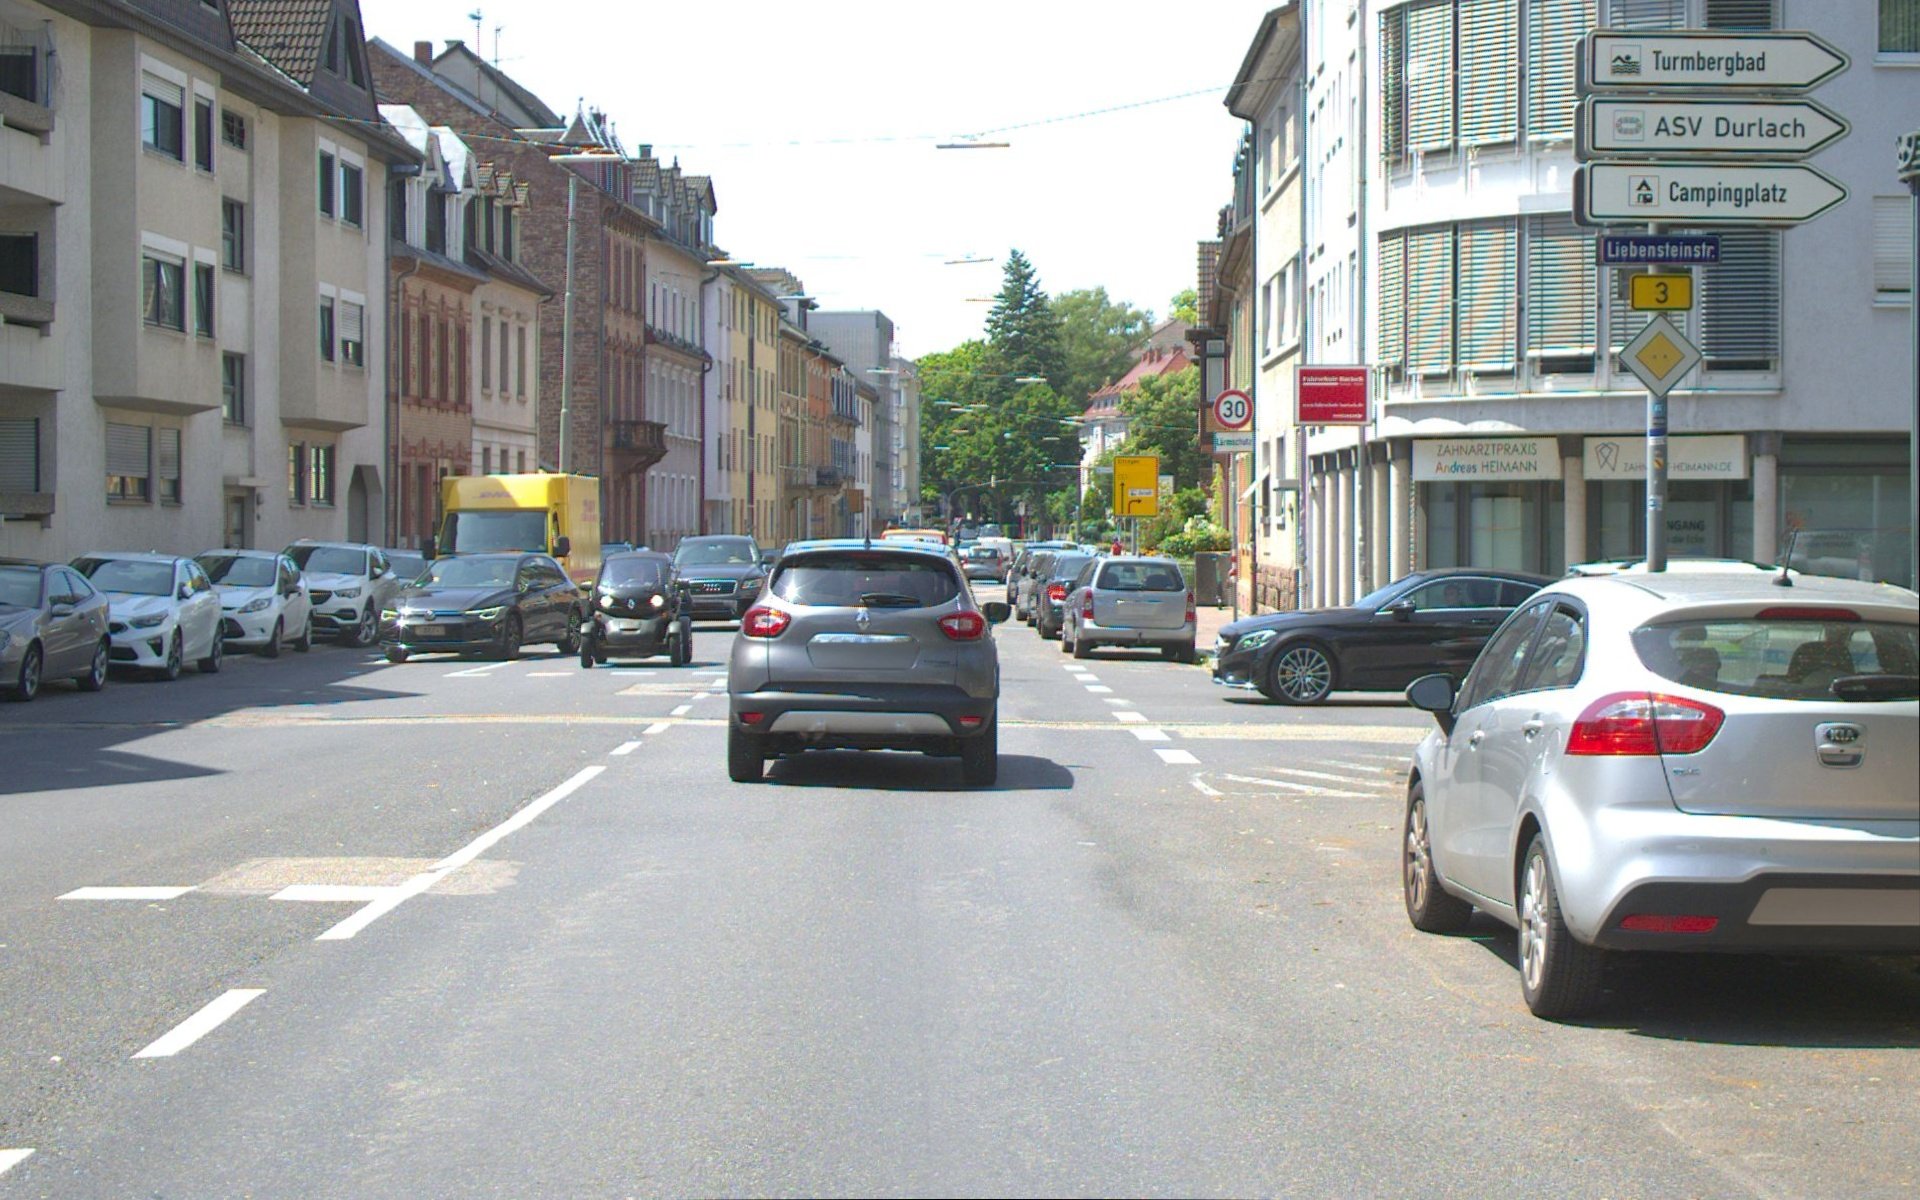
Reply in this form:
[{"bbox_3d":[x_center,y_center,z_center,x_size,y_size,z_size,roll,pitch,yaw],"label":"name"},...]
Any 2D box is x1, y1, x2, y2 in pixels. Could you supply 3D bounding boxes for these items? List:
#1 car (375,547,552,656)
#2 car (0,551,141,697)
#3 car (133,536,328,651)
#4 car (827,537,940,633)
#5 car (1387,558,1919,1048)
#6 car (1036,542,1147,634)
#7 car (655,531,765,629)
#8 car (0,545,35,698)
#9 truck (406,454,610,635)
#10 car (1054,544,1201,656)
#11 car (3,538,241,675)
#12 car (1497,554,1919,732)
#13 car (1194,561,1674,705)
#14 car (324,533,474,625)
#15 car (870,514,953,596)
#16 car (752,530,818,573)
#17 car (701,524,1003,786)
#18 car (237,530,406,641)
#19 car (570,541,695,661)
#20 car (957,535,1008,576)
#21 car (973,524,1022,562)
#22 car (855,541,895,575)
[{"bbox_3d":[-6.705,-0.019,46.803,1.742,1.414,4.223,0,1,1],"label":"car"},{"bbox_3d":[-10.076,0.197,36.179,1.839,1.379,4.327,3,1,0],"label":"car"},{"bbox_3d":[-10.318,-0.121,48.914,1.839,1.484,4.387,3,1,-1],"label":"car"},{"bbox_3d":[-1.316,-0.285,61.048,1.812,1.615,4.441,-1,1,1],"label":"car"},{"bbox_3d":[2.698,0.605,12.483,1.767,1.480,3.891,1,1,0],"label":"car"},{"bbox_3d":[2.160,-0.228,57.515,1.711,1.468,4.438,0,1,0],"label":"car"},{"bbox_3d":[-4.352,-0.372,60.087,1.812,1.615,4.442,-1,1,-4],"label":"car"},{"bbox_3d":[-9.996,0.189,31.042,1.840,1.442,4.969,3,1,1],"label":"car"},{"bbox_3d":[-7.431,-0.934,57.352,2.225,2.762,7.564,-1,1,1],"label":"truck"},{"bbox_3d":[2.323,-0.032,48.523,1.677,1.449,4.143,2,1,-2],"label":"car"},{"bbox_3d":[-10.031,0.044,41.471,1.839,1.484,4.387,3,1,-1],"label":"car"},{"bbox_3d":[7.130,0.384,31.989,3.987,1.549,1.570,1,1,0],"label":"car"},{"bbox_3d":[4.801,0.319,35.281,4.580,1.360,2.000,1,1,-2],"label":"car"},{"bbox_3d":[-9.848,-0.378,60.621,1.840,1.483,4.386,3,1,0],"label":"car"},{"bbox_3d":[-1.195,-1.144,86.703,1.993,2.007,4.466,0,1,1],"label":"car"},{"bbox_3d":[-6.273,-1.732,123.595,1.840,1.417,4.557,-3,1,3],"label":"car"},{"bbox_3d":[-0.823,0.306,23.447,1.743,1.611,4.001,1,1,-6],"label":"car"},{"bbox_3d":[-10.008,-0.245,54.169,1.839,1.590,4.387,3,1,-1],"label":"car"},{"bbox_3d":[-4.086,-0.010,42.961,1.496,1.454,2.723,0,1,-5],"label":"car"},{"bbox_3d":[0.888,-1.743,134.077,1.763,1.554,3.942,0,1,4],"label":"car"},{"bbox_3d":[1.554,-2.351,141.511,1.763,1.554,3.942,0,1,4],"label":"car"},{"bbox_3d":[-4.161,-2.079,169.057,1.904,1.614,4.303,-2,1,-1],"label":"car"}]
